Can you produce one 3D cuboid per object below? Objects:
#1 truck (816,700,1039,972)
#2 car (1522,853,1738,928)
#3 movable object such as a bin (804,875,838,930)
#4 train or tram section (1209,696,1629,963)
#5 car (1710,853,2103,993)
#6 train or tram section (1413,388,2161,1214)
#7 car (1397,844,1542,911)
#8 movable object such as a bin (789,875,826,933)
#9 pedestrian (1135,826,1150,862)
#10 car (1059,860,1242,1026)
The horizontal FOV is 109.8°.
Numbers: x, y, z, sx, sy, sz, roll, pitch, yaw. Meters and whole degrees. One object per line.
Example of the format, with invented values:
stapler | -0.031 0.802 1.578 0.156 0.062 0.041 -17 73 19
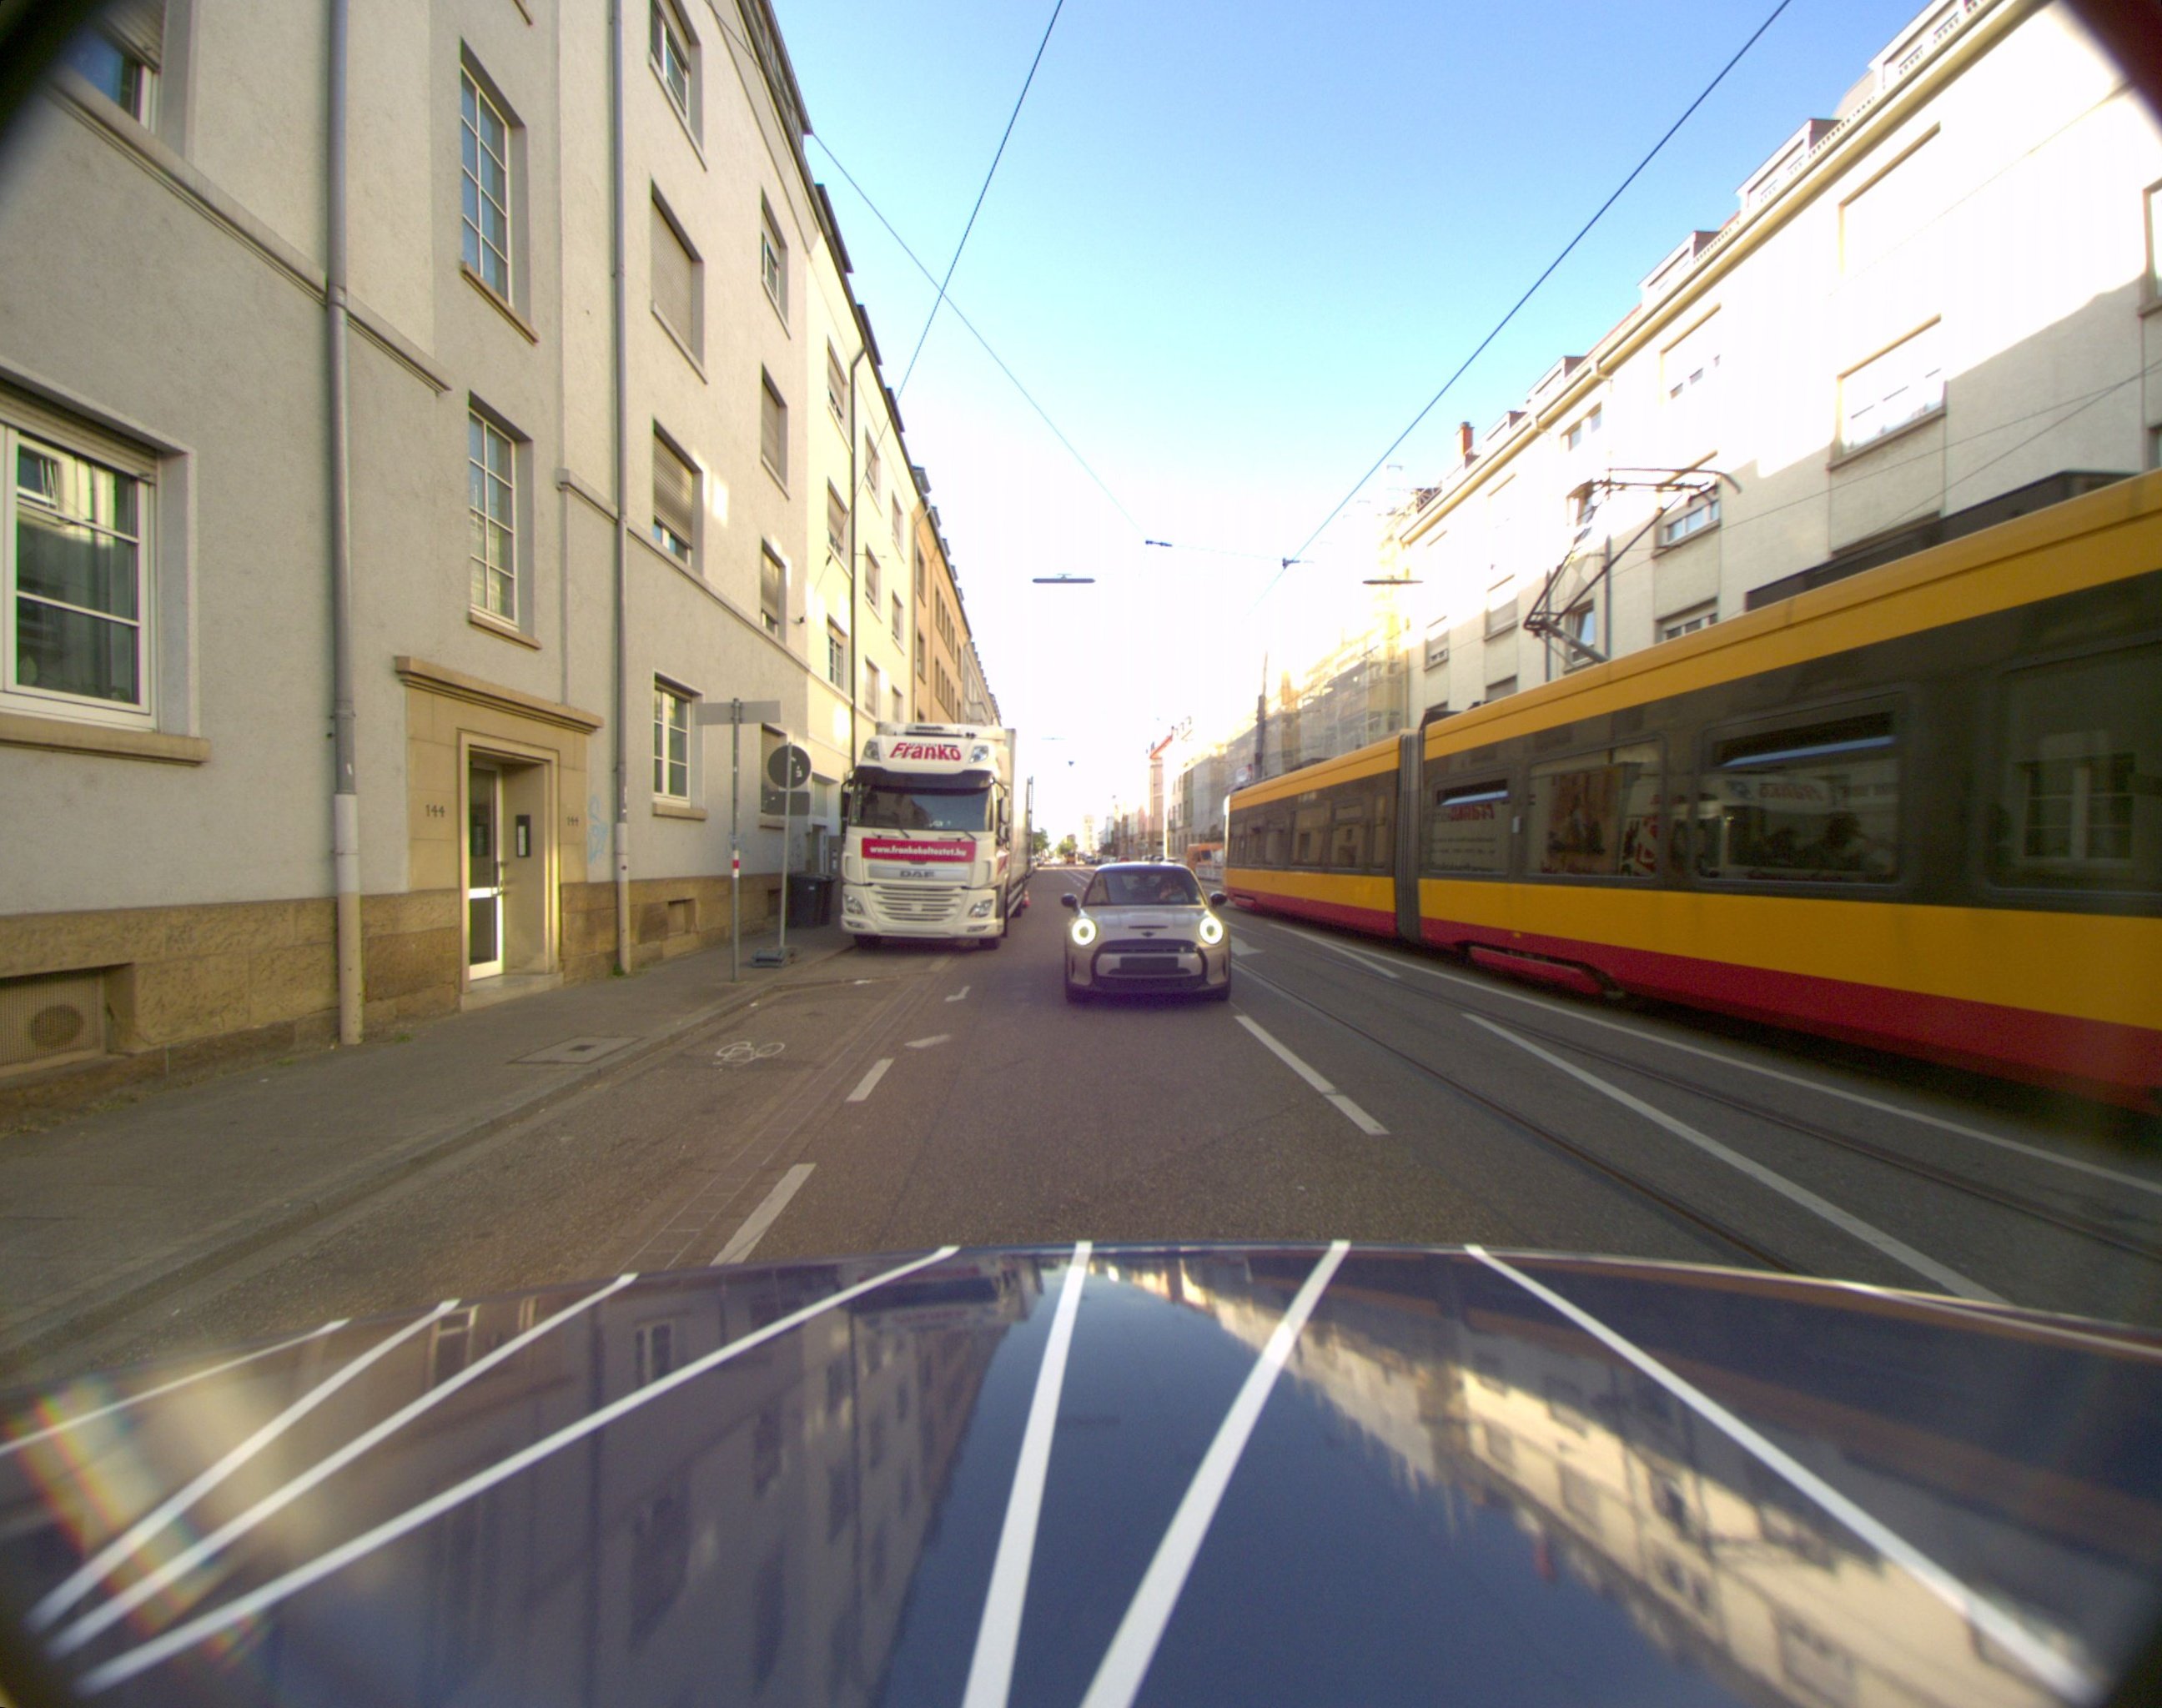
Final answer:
truck | -2.585 -0.260 17.137 2.899 3.939 11.704 -2 0 -2
car | 10.999 0.659 15.546 1.751 1.269 3.488 -2 1 -4
movable object such as a bin | -5.344 0.986 15.618 0.512 1.085 0.495 -2 1 -4
train or tram section | 5.654 -0.363 16.617 3.070 3.573 12.626 1 0 -2
car | 11.218 0.815 10.729 1.670 1.563 3.496 -2 1 -2
train or tram section | 6.059 -0.274 5.640 2.833 3.610 9.081 -2 1 -2
car | 10.492 0.556 20.882 1.712 1.582 4.112 -2 1 -3
movable object such as a bin | -5.401 0.986 15.016 0.512 1.085 0.495 -2 1 -4
pedestrian | 7.657 -1.294 94.456 1.723 4.377 1.153 -2 1 2
car | 0.640 0.840 9.052 1.692 1.495 4.000 0 0 0
